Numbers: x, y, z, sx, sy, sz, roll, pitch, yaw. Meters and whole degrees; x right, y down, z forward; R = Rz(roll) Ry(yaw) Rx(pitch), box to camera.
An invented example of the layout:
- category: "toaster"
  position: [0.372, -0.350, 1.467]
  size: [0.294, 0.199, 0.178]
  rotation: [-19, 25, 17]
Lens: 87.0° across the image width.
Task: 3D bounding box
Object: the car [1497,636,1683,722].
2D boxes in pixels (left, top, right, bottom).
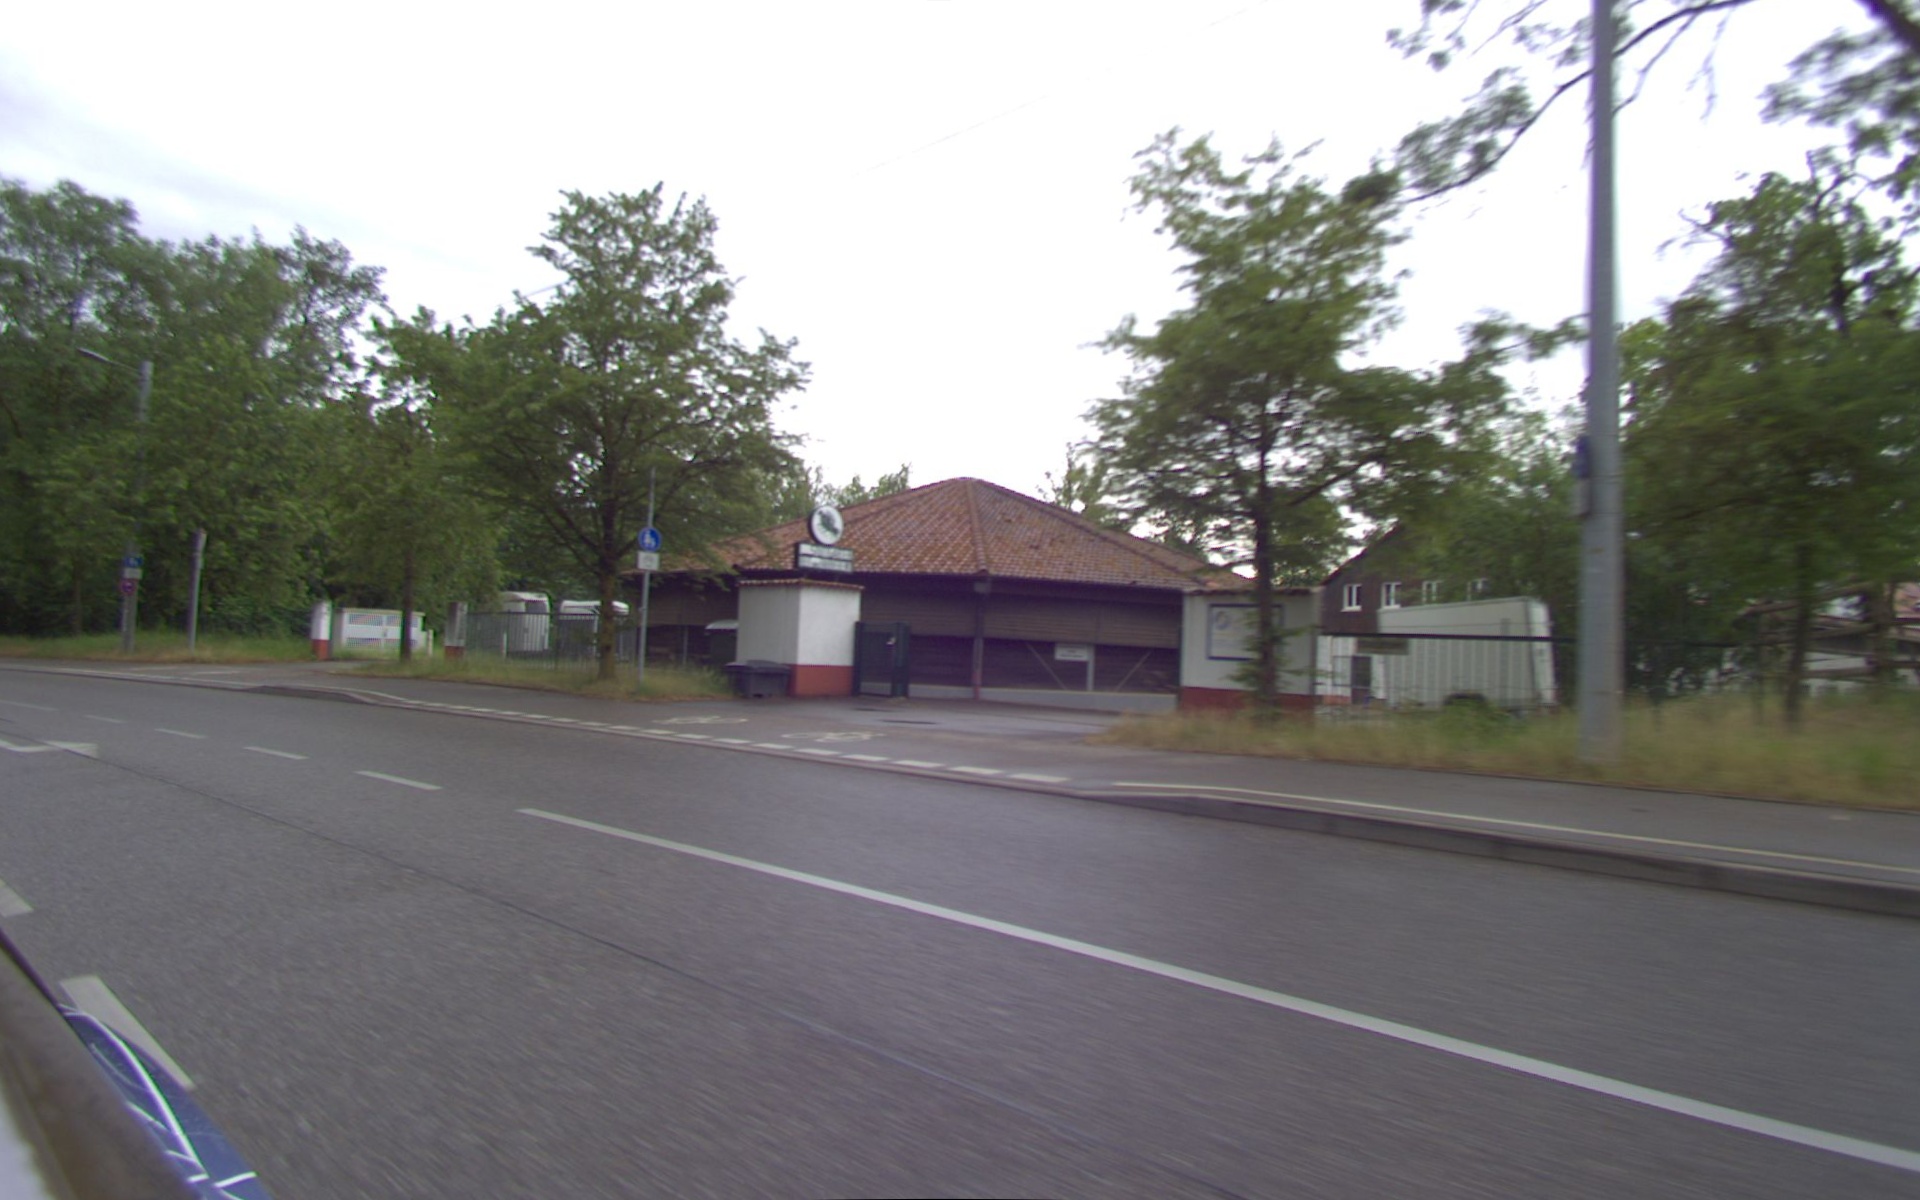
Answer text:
- category: "car"
  position: [14.217, 1.773, 22.808]
  size: [3.931, 1.724, 1.938]
  rotation: [4, -2, -30]

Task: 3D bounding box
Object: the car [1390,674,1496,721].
- category: "car"
  position: [19.519, 3.903, 40.931]
  size: [3.799, 1.630, 1.757]
  rotation: [0, -1, -23]
